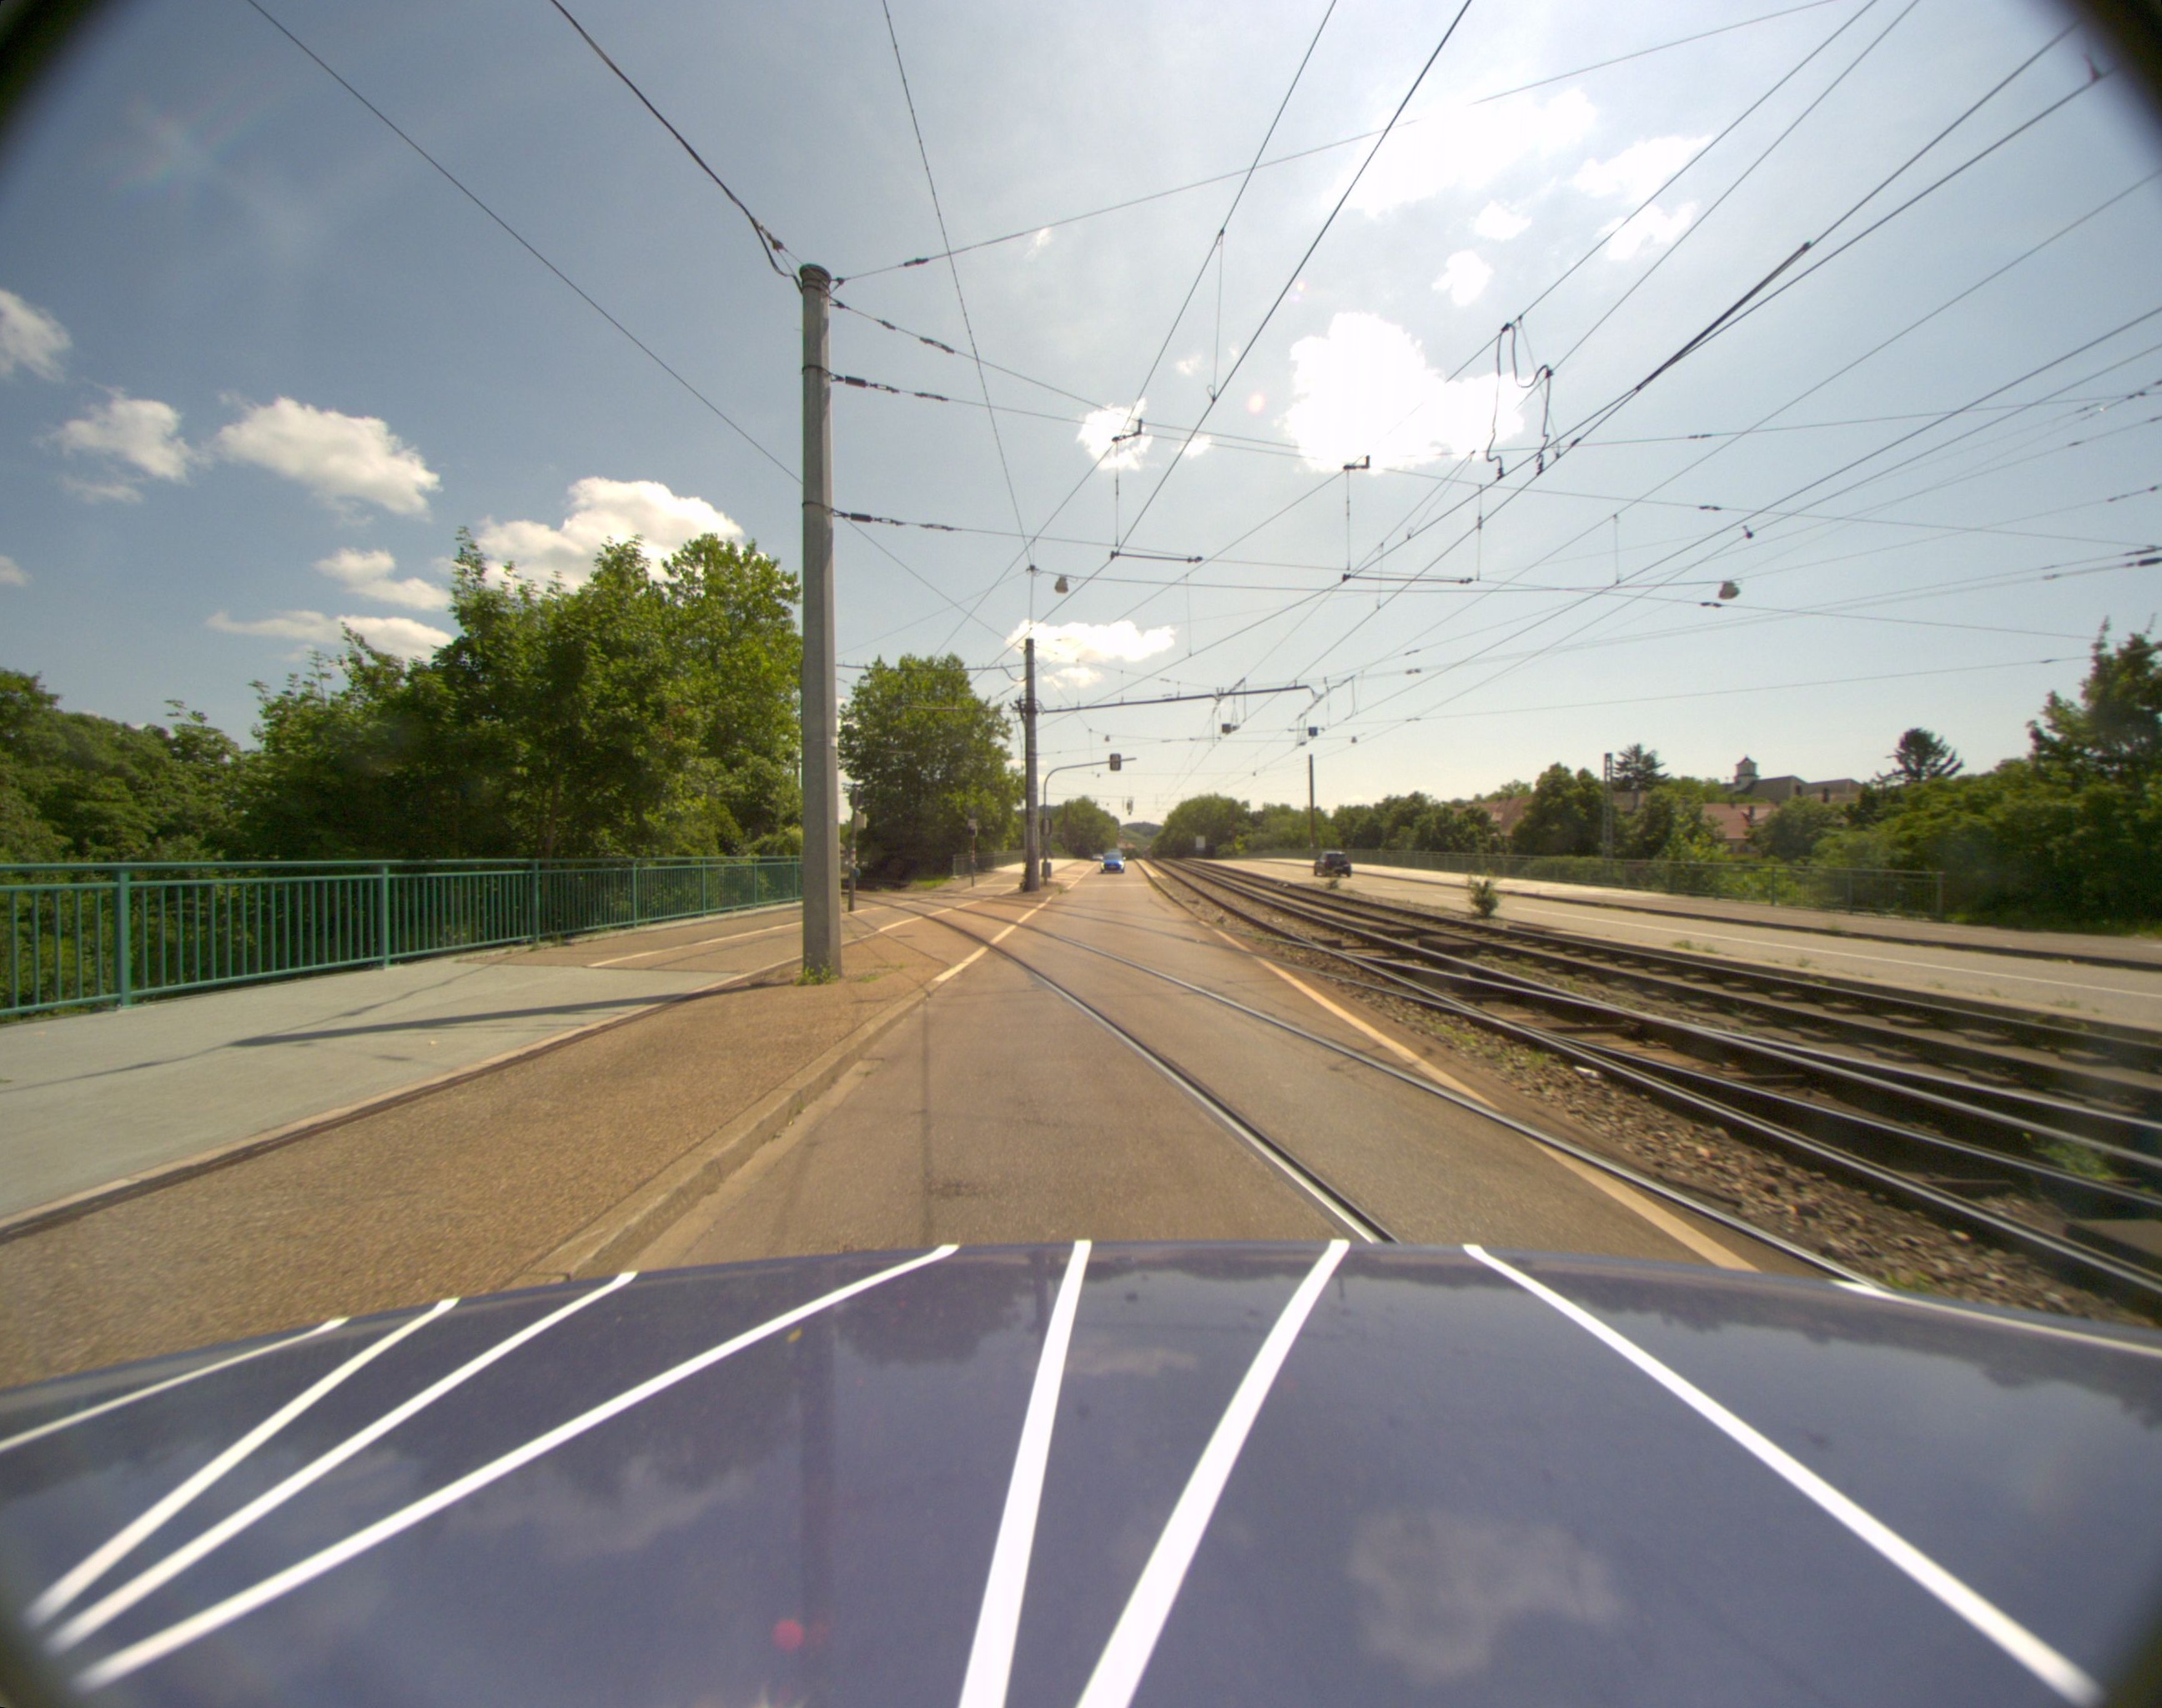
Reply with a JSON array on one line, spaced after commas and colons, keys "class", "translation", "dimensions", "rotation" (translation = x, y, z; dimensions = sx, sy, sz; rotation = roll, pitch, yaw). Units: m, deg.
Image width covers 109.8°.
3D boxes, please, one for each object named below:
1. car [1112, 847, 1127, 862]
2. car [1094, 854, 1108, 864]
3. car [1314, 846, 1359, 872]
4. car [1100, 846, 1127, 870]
[{"class": "car", "translation": [4.668, 0.116, 92.249], "dimensions": [1.684, 1.737, 3.686], "rotation": [-1, -1, 1]}, {"class": "car", "translation": [3.324, 0.878, 125.213], "dimensions": [1.998, 1.542, 4.724], "rotation": [-1, -2, 3]}, {"class": "car", "translation": [15.304, 0.287, 45.674], "dimensions": [1.709, 1.501, 3.734], "rotation": [0, 0, 4]}, {"class": "car", "translation": [2.331, 0.339, 55.374], "dimensions": [1.864, 1.630, 4.001], "rotation": [-1, -1, 2]}]
